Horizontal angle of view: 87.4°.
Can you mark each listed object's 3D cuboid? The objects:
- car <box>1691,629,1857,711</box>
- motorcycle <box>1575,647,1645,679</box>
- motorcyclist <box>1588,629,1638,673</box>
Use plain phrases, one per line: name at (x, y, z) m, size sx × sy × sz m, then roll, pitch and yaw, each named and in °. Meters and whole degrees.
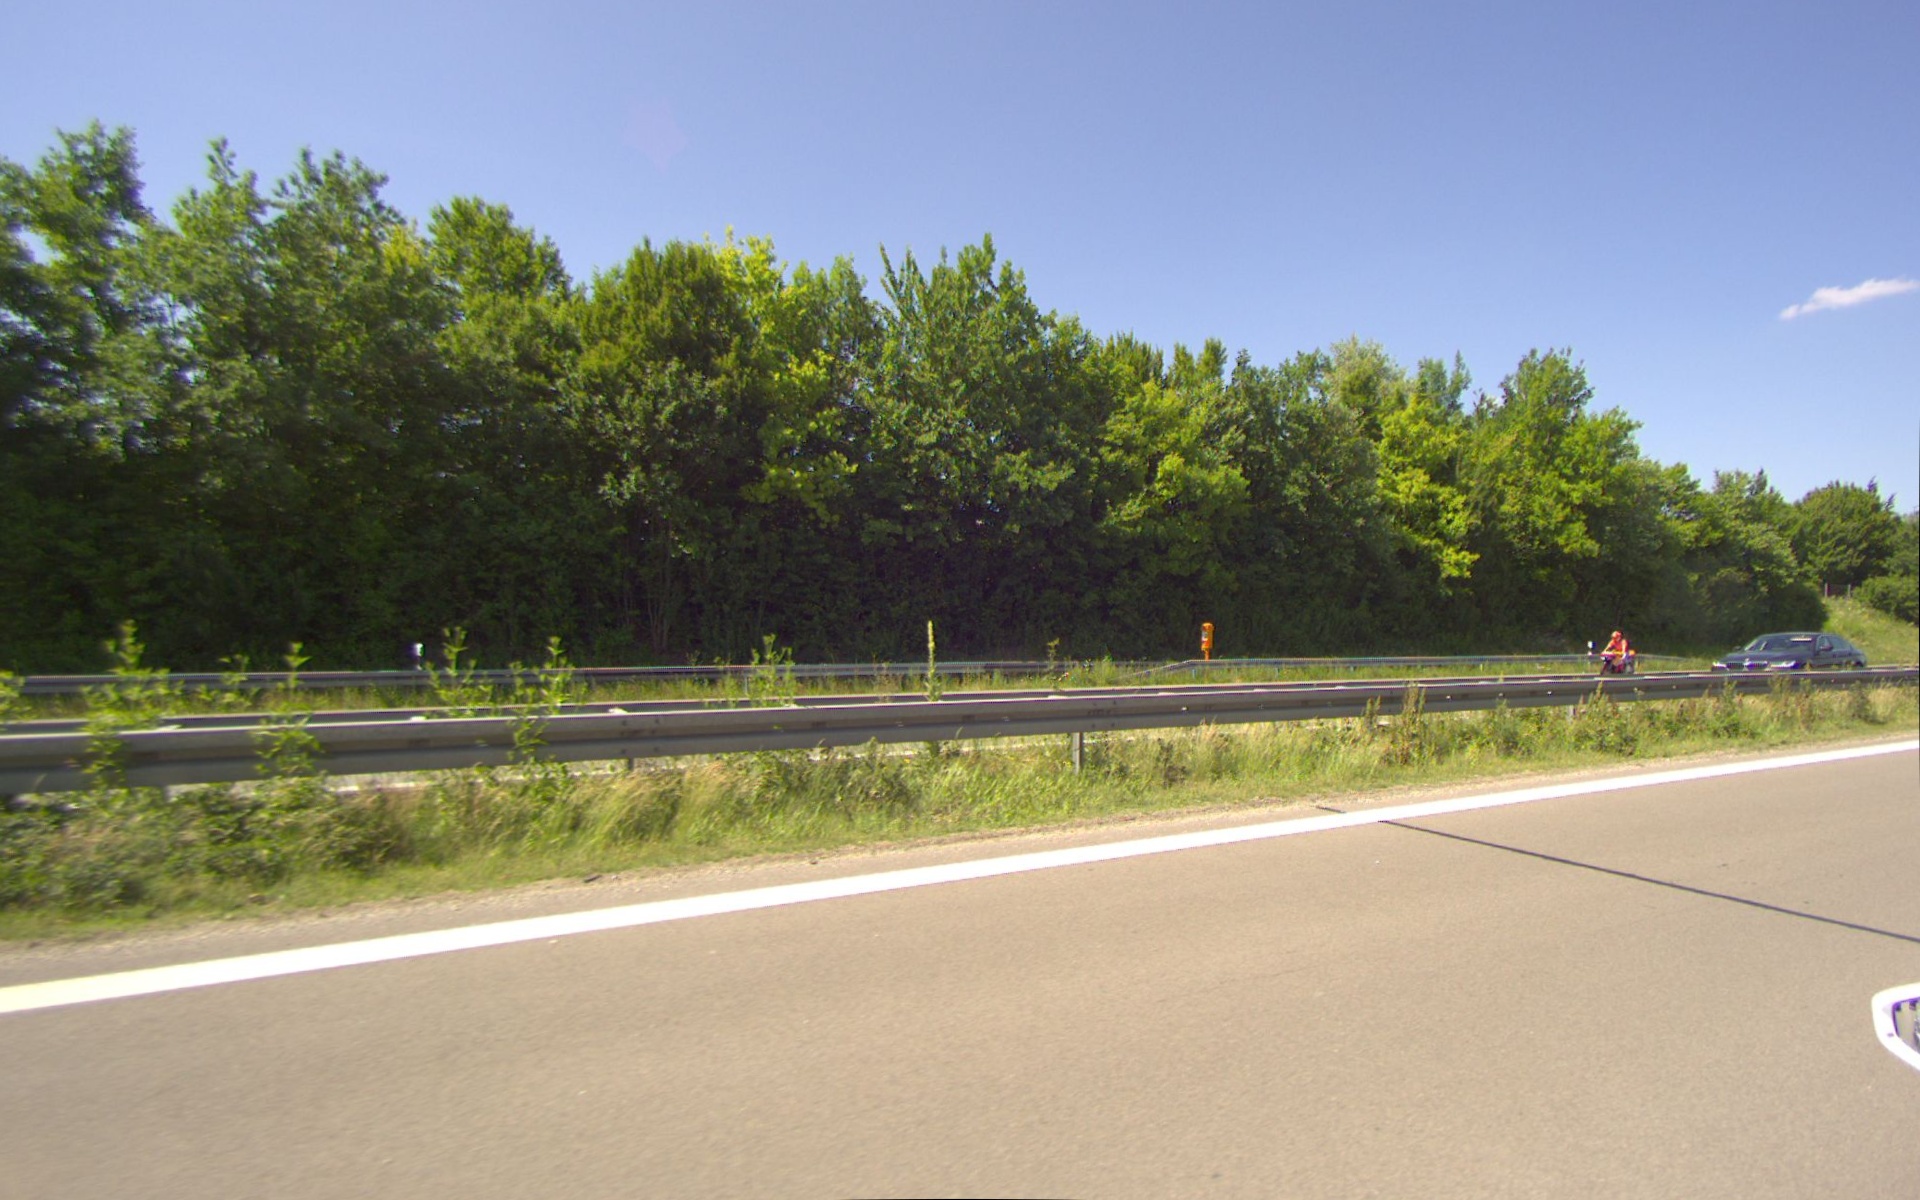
car at (20.715, 1.710, 25.502) m, size 4.961 × 1.906 × 1.682 m, roll 1°, pitch -2°, yaw -31°
motorcycle at (22.026, 2.107, 34.027) m, size 2.624 × 1.031 × 0.931 m, roll 1°, pitch -2°, yaw -30°
motorcyclist at (22.187, 1.711, 34.140) m, size 1.341 × 1.463 × 0.936 m, roll 1°, pitch -2°, yaw -31°
